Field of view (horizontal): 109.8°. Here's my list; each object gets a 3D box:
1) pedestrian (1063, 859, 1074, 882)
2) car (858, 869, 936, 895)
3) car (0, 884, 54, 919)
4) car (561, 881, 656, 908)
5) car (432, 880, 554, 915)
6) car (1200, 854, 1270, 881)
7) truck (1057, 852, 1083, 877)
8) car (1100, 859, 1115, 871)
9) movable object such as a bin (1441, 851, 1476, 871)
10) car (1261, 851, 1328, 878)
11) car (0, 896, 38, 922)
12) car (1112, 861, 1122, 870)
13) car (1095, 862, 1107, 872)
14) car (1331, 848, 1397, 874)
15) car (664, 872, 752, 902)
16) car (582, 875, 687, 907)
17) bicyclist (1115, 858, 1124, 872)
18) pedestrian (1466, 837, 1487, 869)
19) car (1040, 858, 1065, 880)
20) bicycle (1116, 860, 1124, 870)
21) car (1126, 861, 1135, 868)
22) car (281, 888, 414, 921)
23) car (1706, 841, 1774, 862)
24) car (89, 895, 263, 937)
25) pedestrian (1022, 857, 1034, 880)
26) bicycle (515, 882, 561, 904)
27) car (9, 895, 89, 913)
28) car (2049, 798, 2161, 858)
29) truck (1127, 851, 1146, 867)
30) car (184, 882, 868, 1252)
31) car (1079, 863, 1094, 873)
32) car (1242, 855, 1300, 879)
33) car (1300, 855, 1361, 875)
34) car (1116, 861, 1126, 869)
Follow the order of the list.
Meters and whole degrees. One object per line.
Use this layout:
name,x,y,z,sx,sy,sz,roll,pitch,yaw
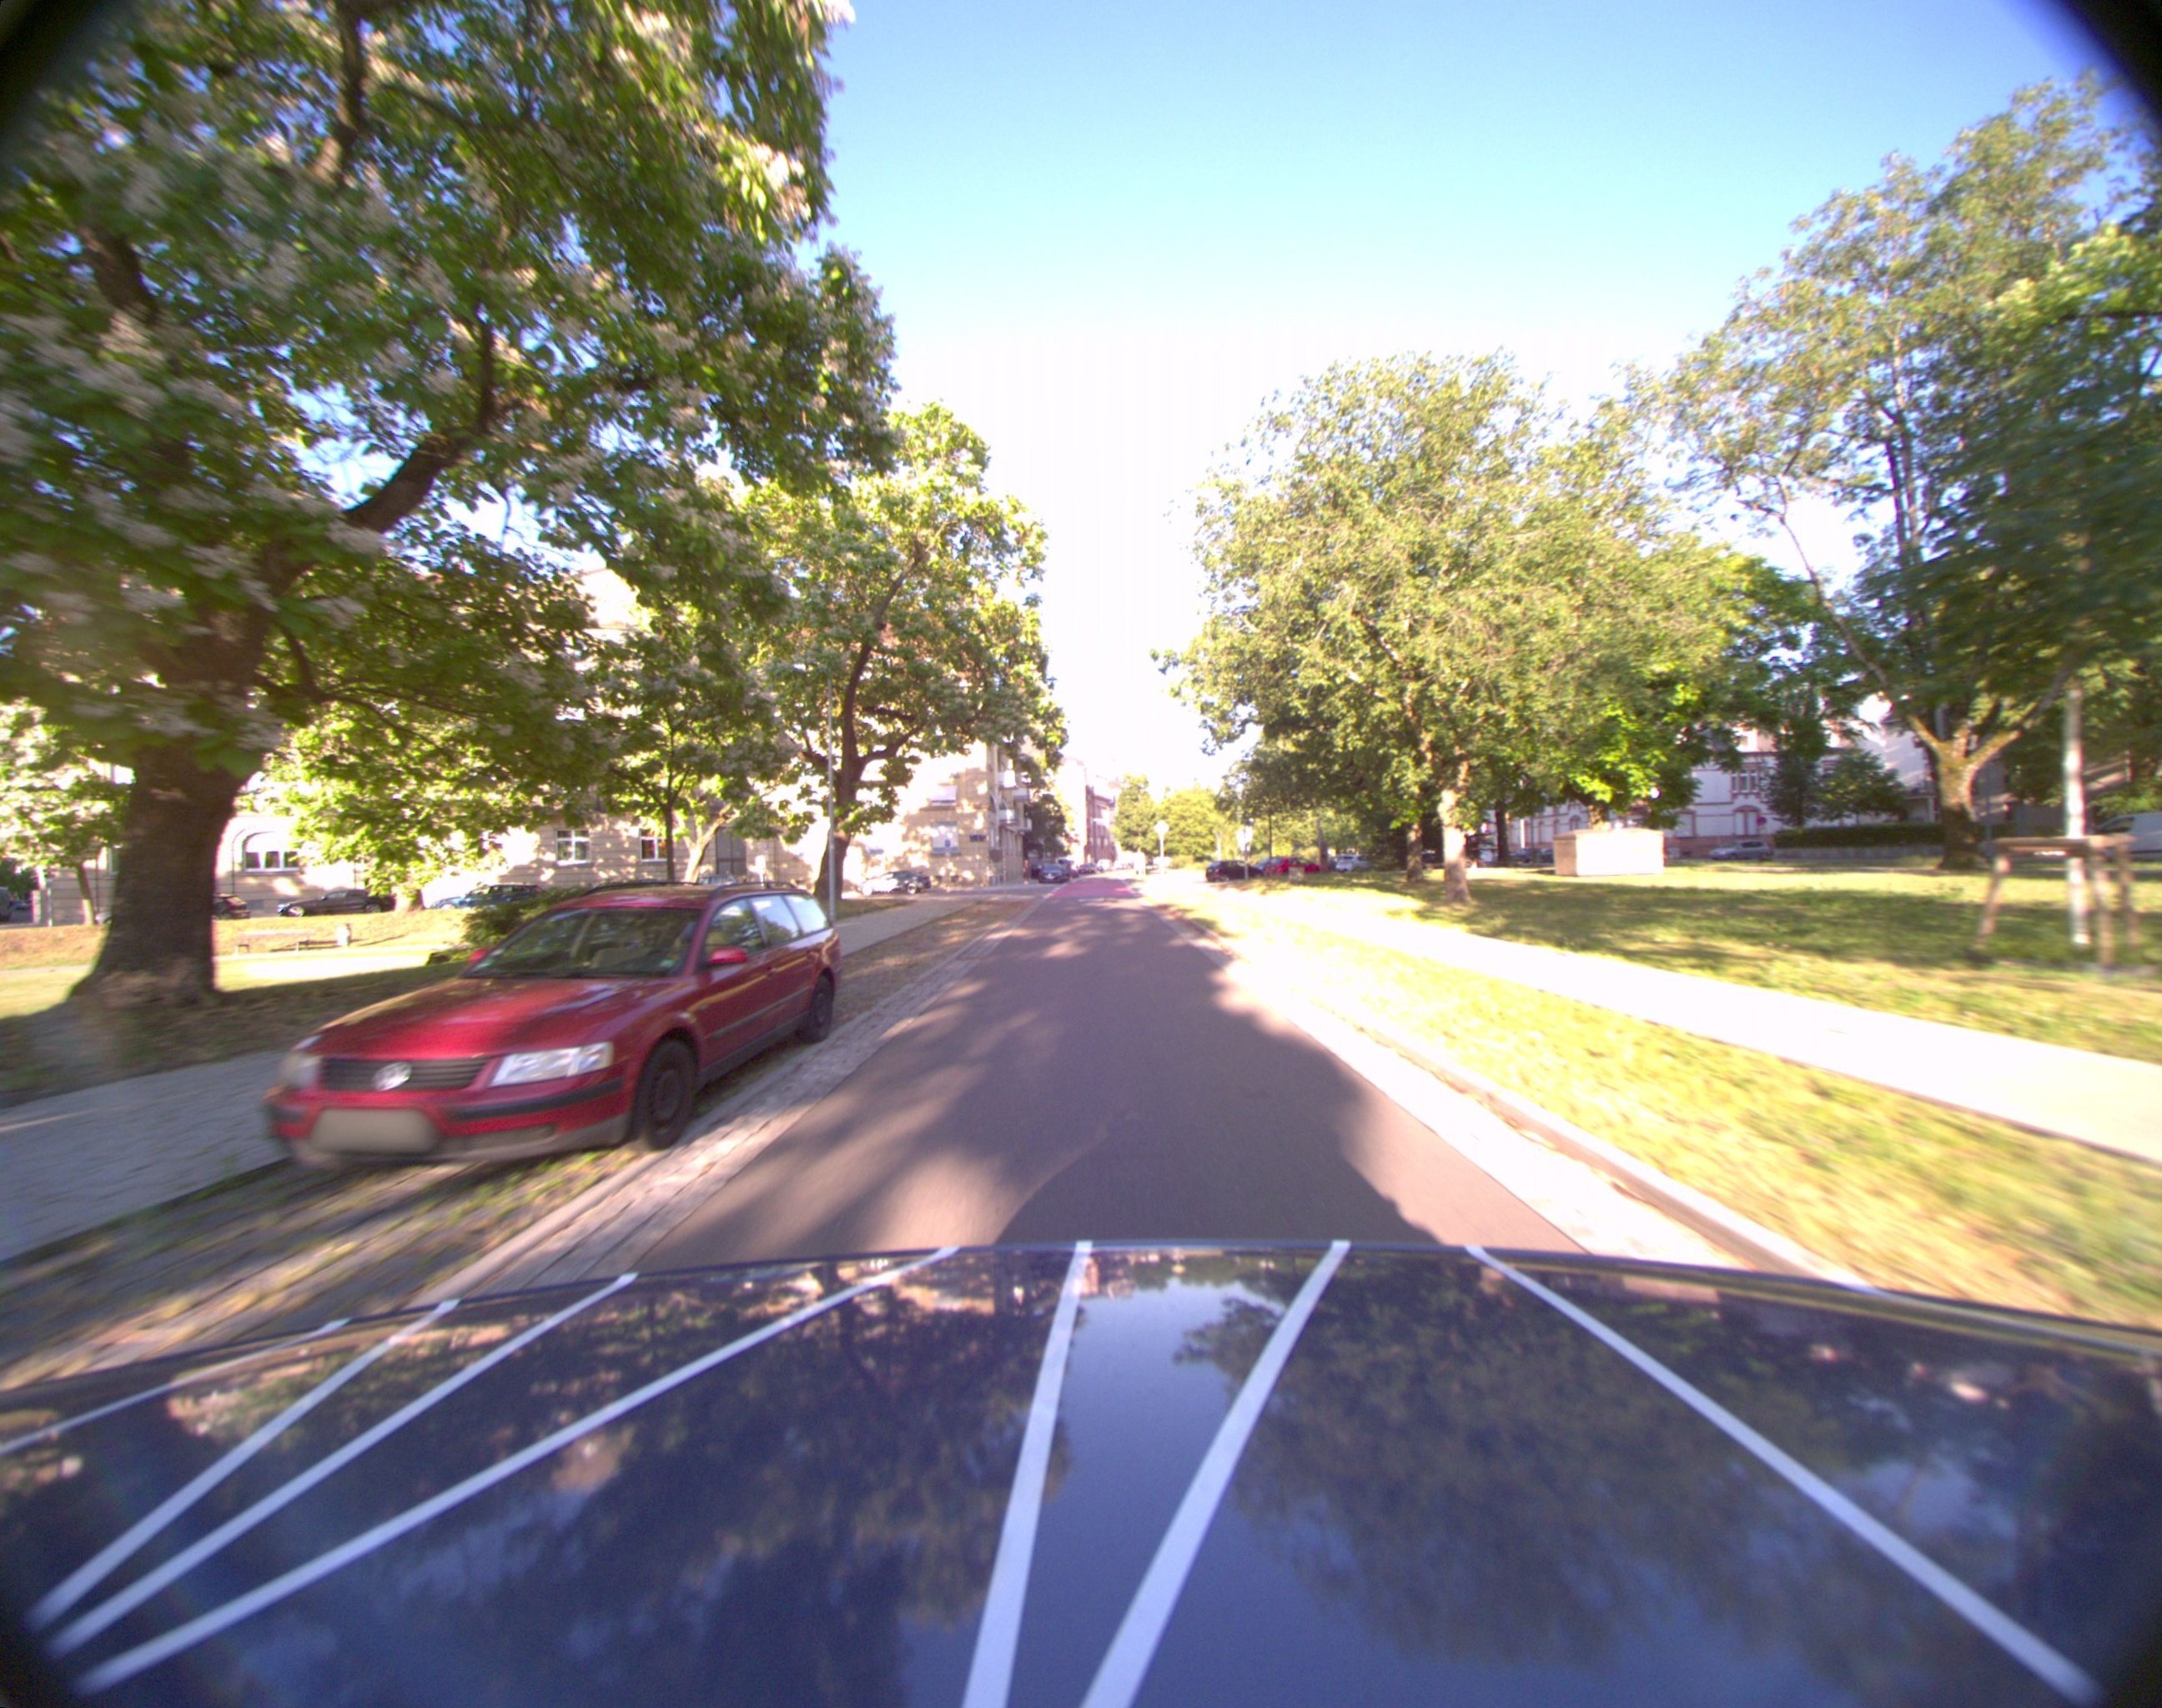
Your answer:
pedestrian,-0.977,1.295,60.648,0.778,1.758,0.955,-3,0,2
car,-11.401,1.729,47.354,4.452,1.410,1.935,-2,0,-4
car,-69.881,3.115,48.912,1.814,2.095,4.380,-1,0,38
car,-27.381,2.311,44.206,4.458,1.316,1.503,-2,0,-21
car,-28.731,2.102,37.272,4.443,1.409,1.564,-2,0,-22
car,9.898,0.839,48.854,4.004,1.565,1.887,-2,2,-24
truck,-1.128,1.058,81.170,2.133,2.549,6.878,-2,0,3
car,4.659,1.875,132.721,2.118,1.942,4.764,-2,0,8
movable object such as a bin,20.233,0.369,40.749,1.333,0.984,0.949,-2,0,-5
car,14.159,0.662,50.438,4.004,1.565,1.887,-2,2,-24
car,-65.176,3.327,44.763,1.814,1.409,4.380,-1,0,36
car,6.690,2.105,141.764,1.582,1.499,3.849,-2,0,8
car,3.171,2.043,120.309,1.509,1.437,3.732,-2,0,7
car,19.519,0.460,52.387,4.003,1.565,1.887,-2,2,-20
car,-22.342,1.951,45.704,4.456,1.590,1.800,-2,0,-17
car,-23.049,1.907,39.404,4.370,1.409,1.842,-2,0,-19
bicyclist,4.715,1.352,92.579,0.939,1.692,0.906,-2,0,7
pedestrian,21.234,-0.060,40.769,0.664,1.686,0.672,-3,0,-4
car,-2.196,1.198,59.272,1.707,1.616,4.349,0,-1,1
bicycle,4.717,1.347,92.644,0.739,1.129,2.106,-2,0,7
car,10.350,2.172,159.475,1.582,1.499,3.849,-2,0,8
car,-38.076,2.591,39.633,4.657,1.409,1.815,-2,0,-30
car,54.204,-0.249,62.558,3.997,1.565,1.890,-2,1,1
car,-38.497,2.595,32.494,4.378,1.409,1.815,-2,0,-29
pedestrian,-4.191,1.133,60.088,0.733,1.819,0.555,-3,0,-35
bicycle,-33.118,2.362,46.369,2.126,1.223,0.613,-2,0,-23
car,-98.142,4.742,72.356,1.814,1.409,4.380,-1,0,41
car,39.183,-0.964,27.206,2.676,2.101,4.969,-3,0,1
truck,12.350,1.032,168.984,3.018,3.422,7.630,-1,0,13
car,-3.211,1.065,5.878,1.682,1.477,4.809,-2,0,1
car,0.807,1.915,104.559,1.610,1.349,3.550,-2,0,7
car,14.176,0.955,56.729,3.851,1.621,1.836,-2,0,-23
car,19.257,0.871,58.671,4.281,1.392,1.837,-2,0,-21
car,7.865,2.116,147.564,1.582,1.499,3.849,-2,0,8
